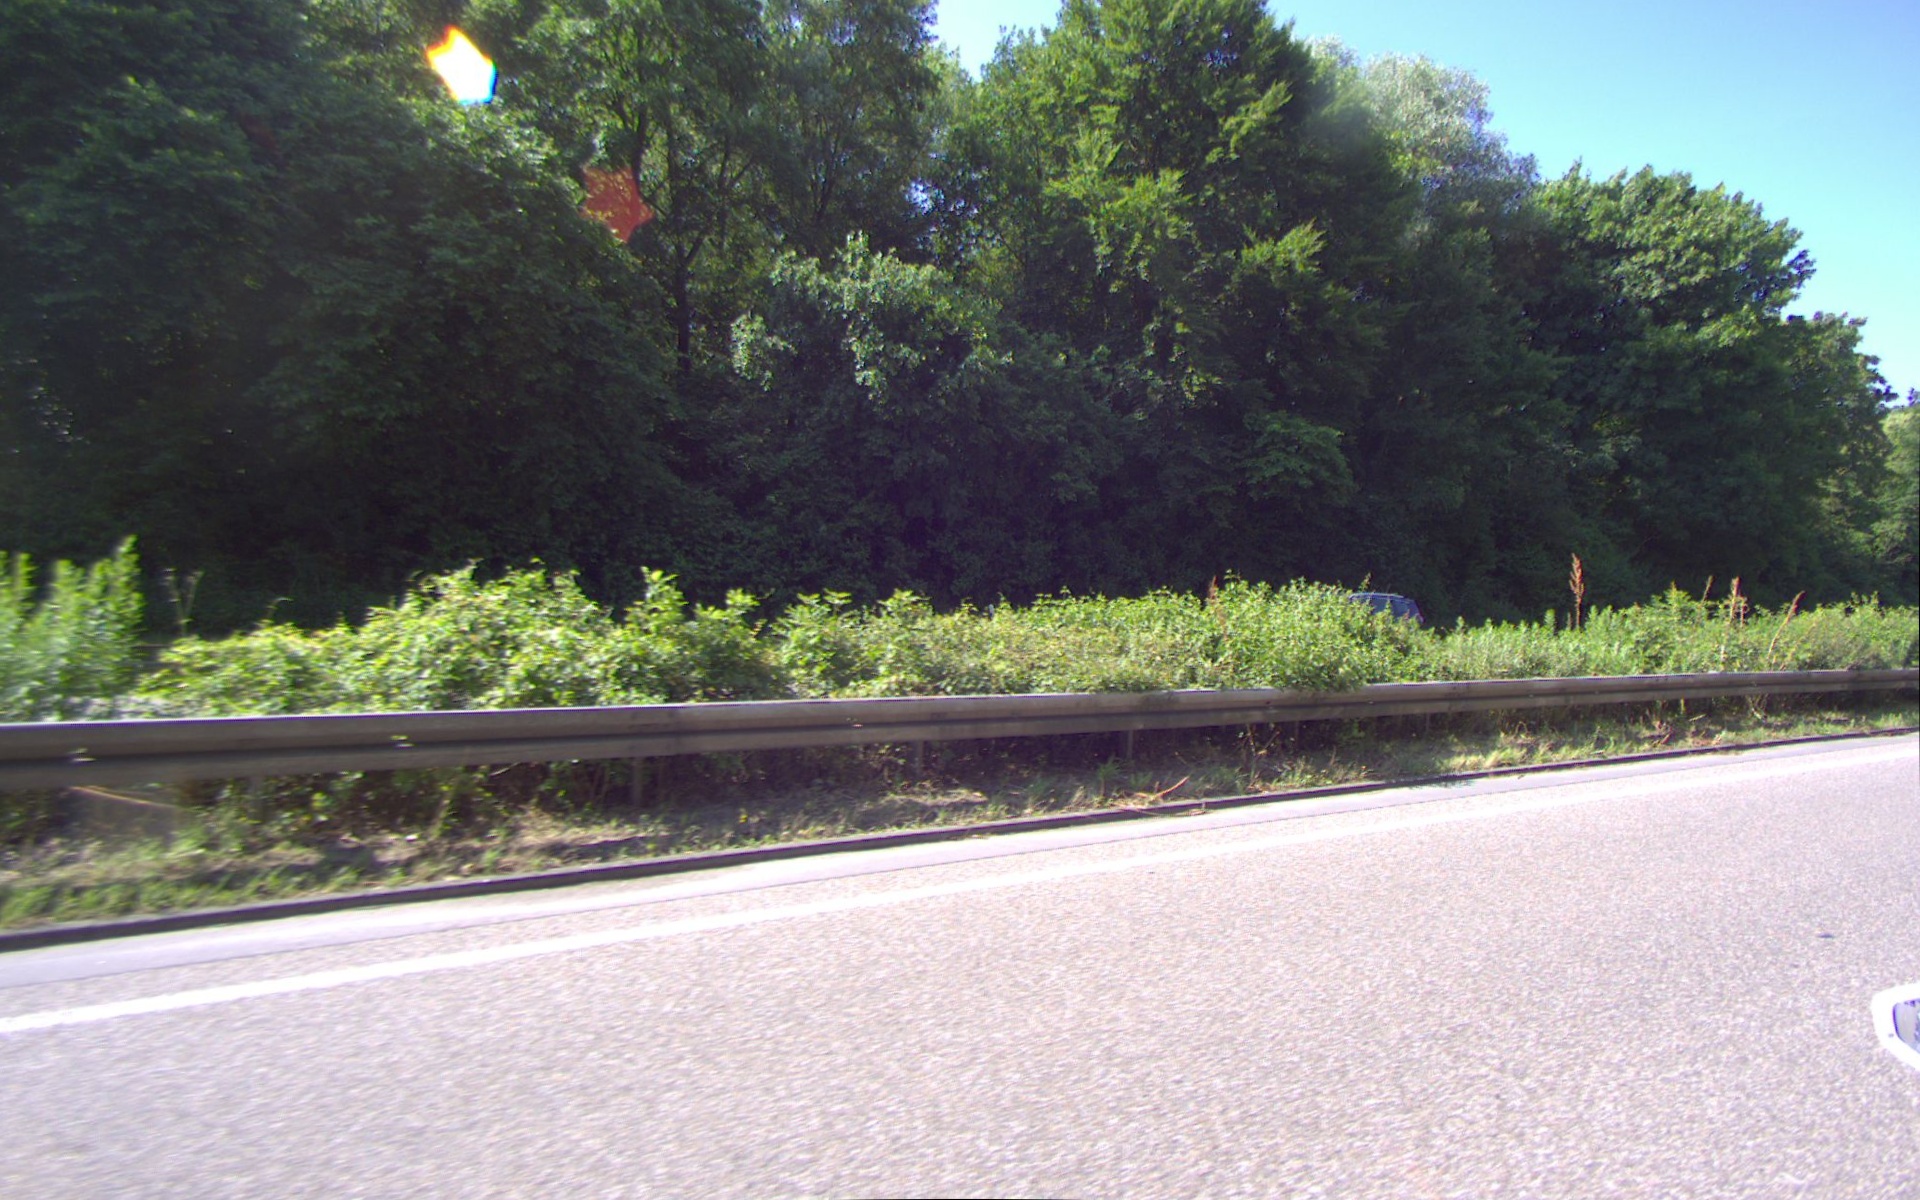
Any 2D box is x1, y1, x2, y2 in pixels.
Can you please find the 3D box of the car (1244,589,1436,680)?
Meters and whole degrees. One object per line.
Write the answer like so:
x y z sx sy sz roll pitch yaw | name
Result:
8.580 0.736 22.561 4.380 1.873 1.623 1 0 -30 | car
